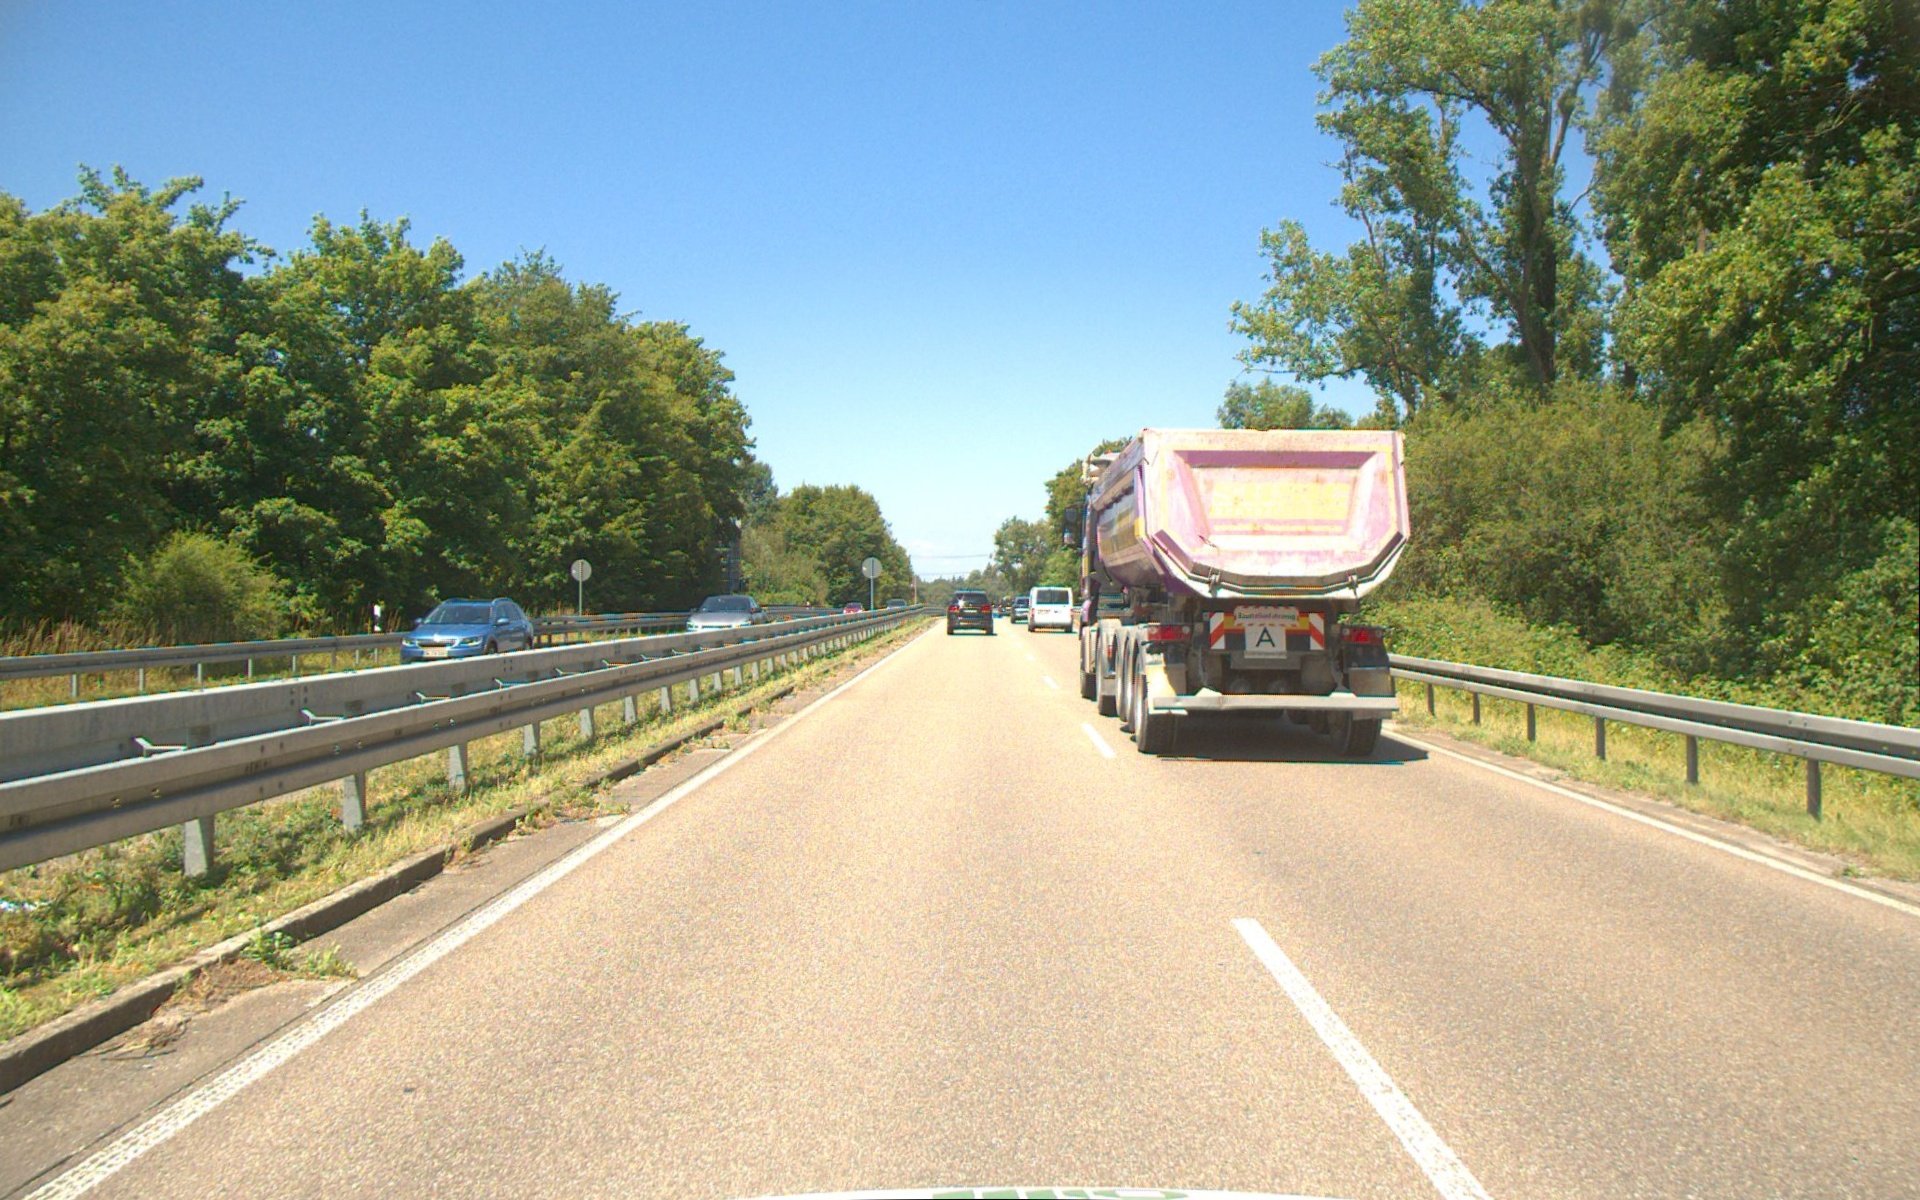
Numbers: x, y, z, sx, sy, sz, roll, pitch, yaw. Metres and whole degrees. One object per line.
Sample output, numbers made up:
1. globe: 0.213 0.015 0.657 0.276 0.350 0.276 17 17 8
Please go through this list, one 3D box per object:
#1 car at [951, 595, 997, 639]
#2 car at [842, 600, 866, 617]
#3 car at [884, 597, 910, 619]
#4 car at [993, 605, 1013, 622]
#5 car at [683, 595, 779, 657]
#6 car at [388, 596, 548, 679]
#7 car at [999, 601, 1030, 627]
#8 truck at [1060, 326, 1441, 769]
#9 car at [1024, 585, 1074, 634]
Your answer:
1. car: 0.537 0.731 67.915 1.819 1.701 3.999 1 -2 0
2. car: -9.198 0.736 144.079 1.760 1.415 4.000 -1 0 0
3. car: -5.508 0.716 145.268 1.952 1.825 4.748 -1 0 1
4. car: 3.900 1.195 149.663 1.571 1.445 3.521 -1 0 -2
5. car: -6.545 0.703 47.732 1.952 1.660 4.554 -1 0 2
6. car: -10.153 0.728 34.520 1.775 1.570 4.929 -1 0 1
7. car: 3.140 0.777 96.291 1.571 1.445 3.521 -1 0 -2
8. truck: 3.020 -0.476 21.217 2.664 3.999 12.369 1 0 0
9. car: 3.979 0.431 74.801 1.953 2.113 3.999 -1 0 -1
